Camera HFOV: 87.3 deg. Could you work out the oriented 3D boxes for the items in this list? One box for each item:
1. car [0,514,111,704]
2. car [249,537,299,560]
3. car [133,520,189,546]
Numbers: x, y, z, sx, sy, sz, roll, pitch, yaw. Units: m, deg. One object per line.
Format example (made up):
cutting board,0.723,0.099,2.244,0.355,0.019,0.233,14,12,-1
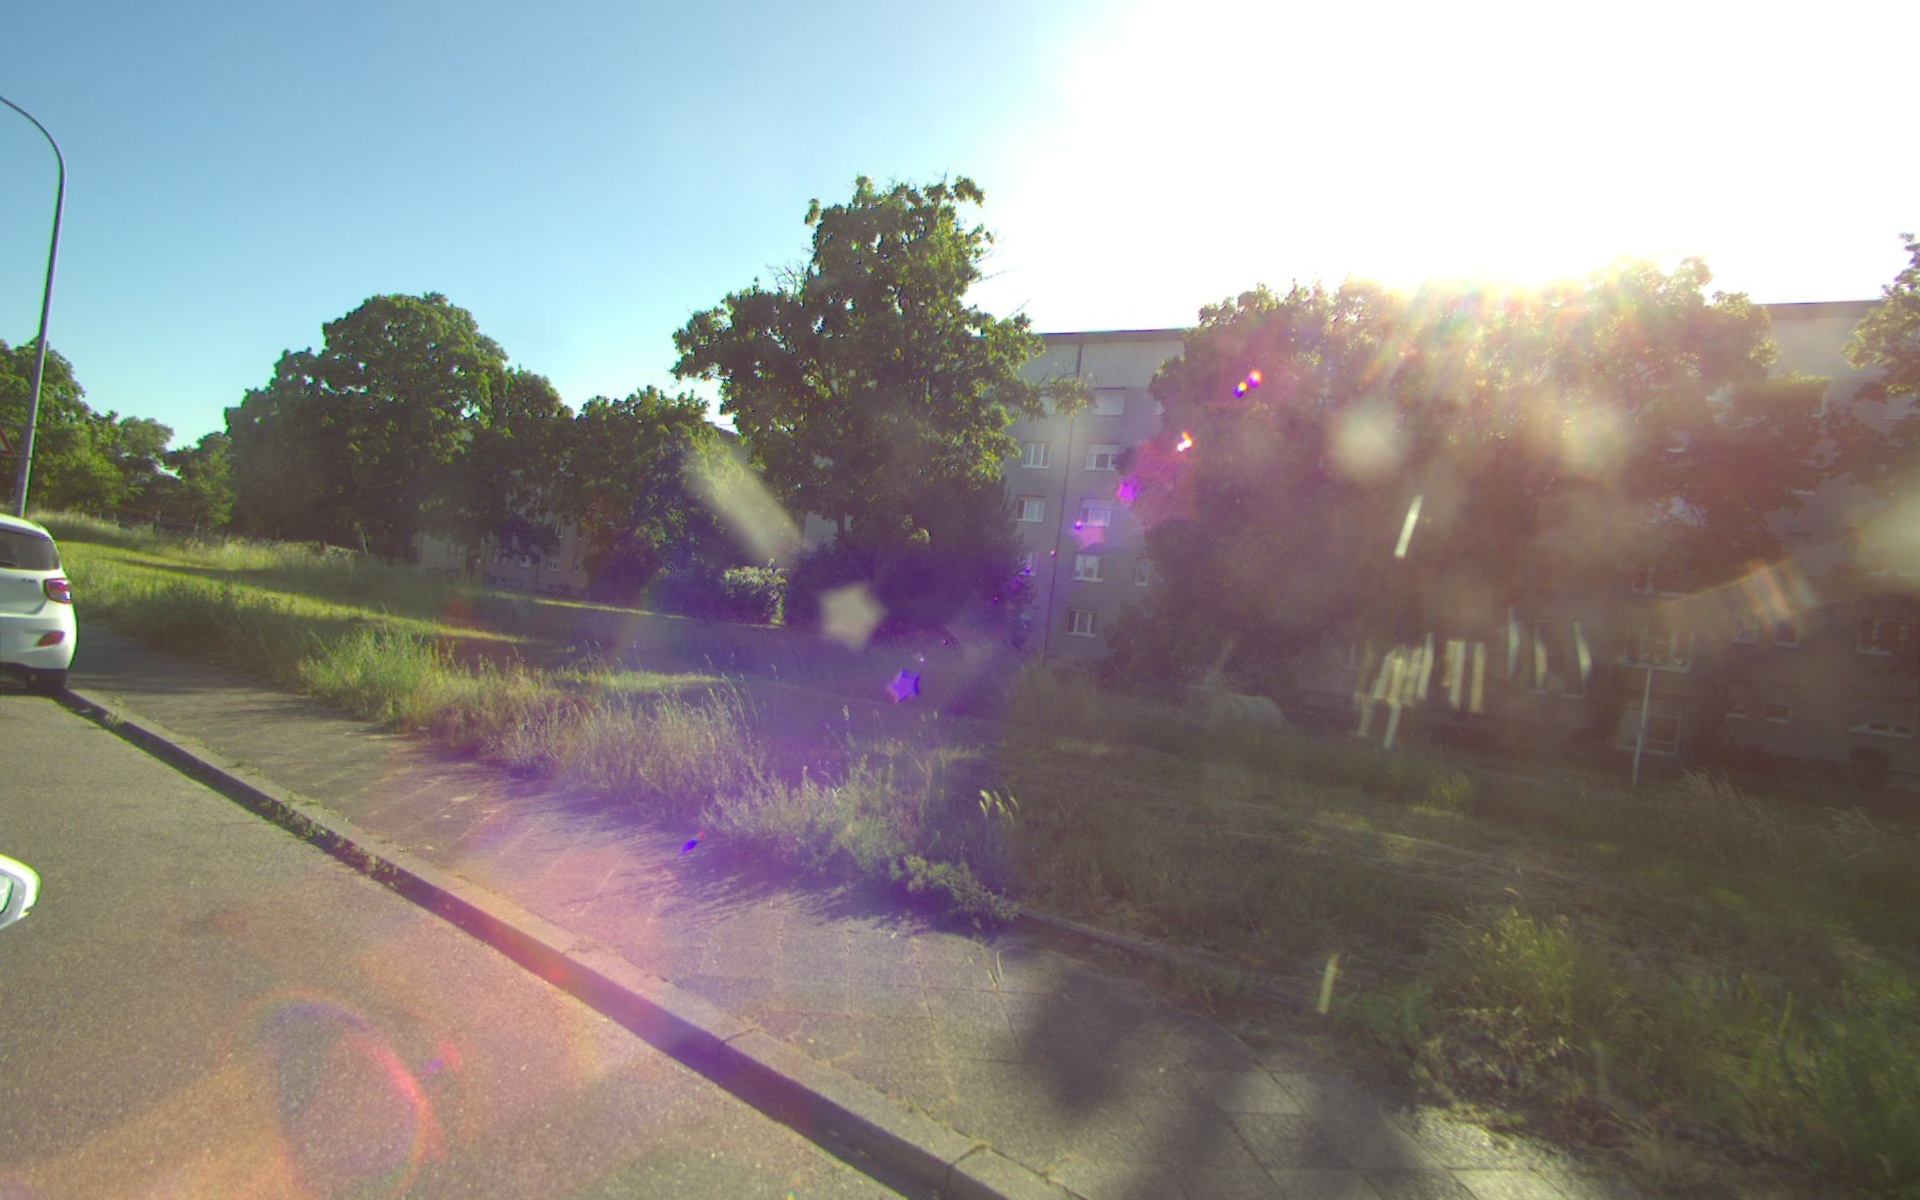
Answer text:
car,-9.347,-0.118,8.900,3.681,1.495,1.725,6,-3,34
car,-66.674,-4.989,97.773,3.694,1.636,1.679,8,-4,-44
car,-68.857,-5.722,86.762,3.685,1.636,1.683,8,-3,-38
